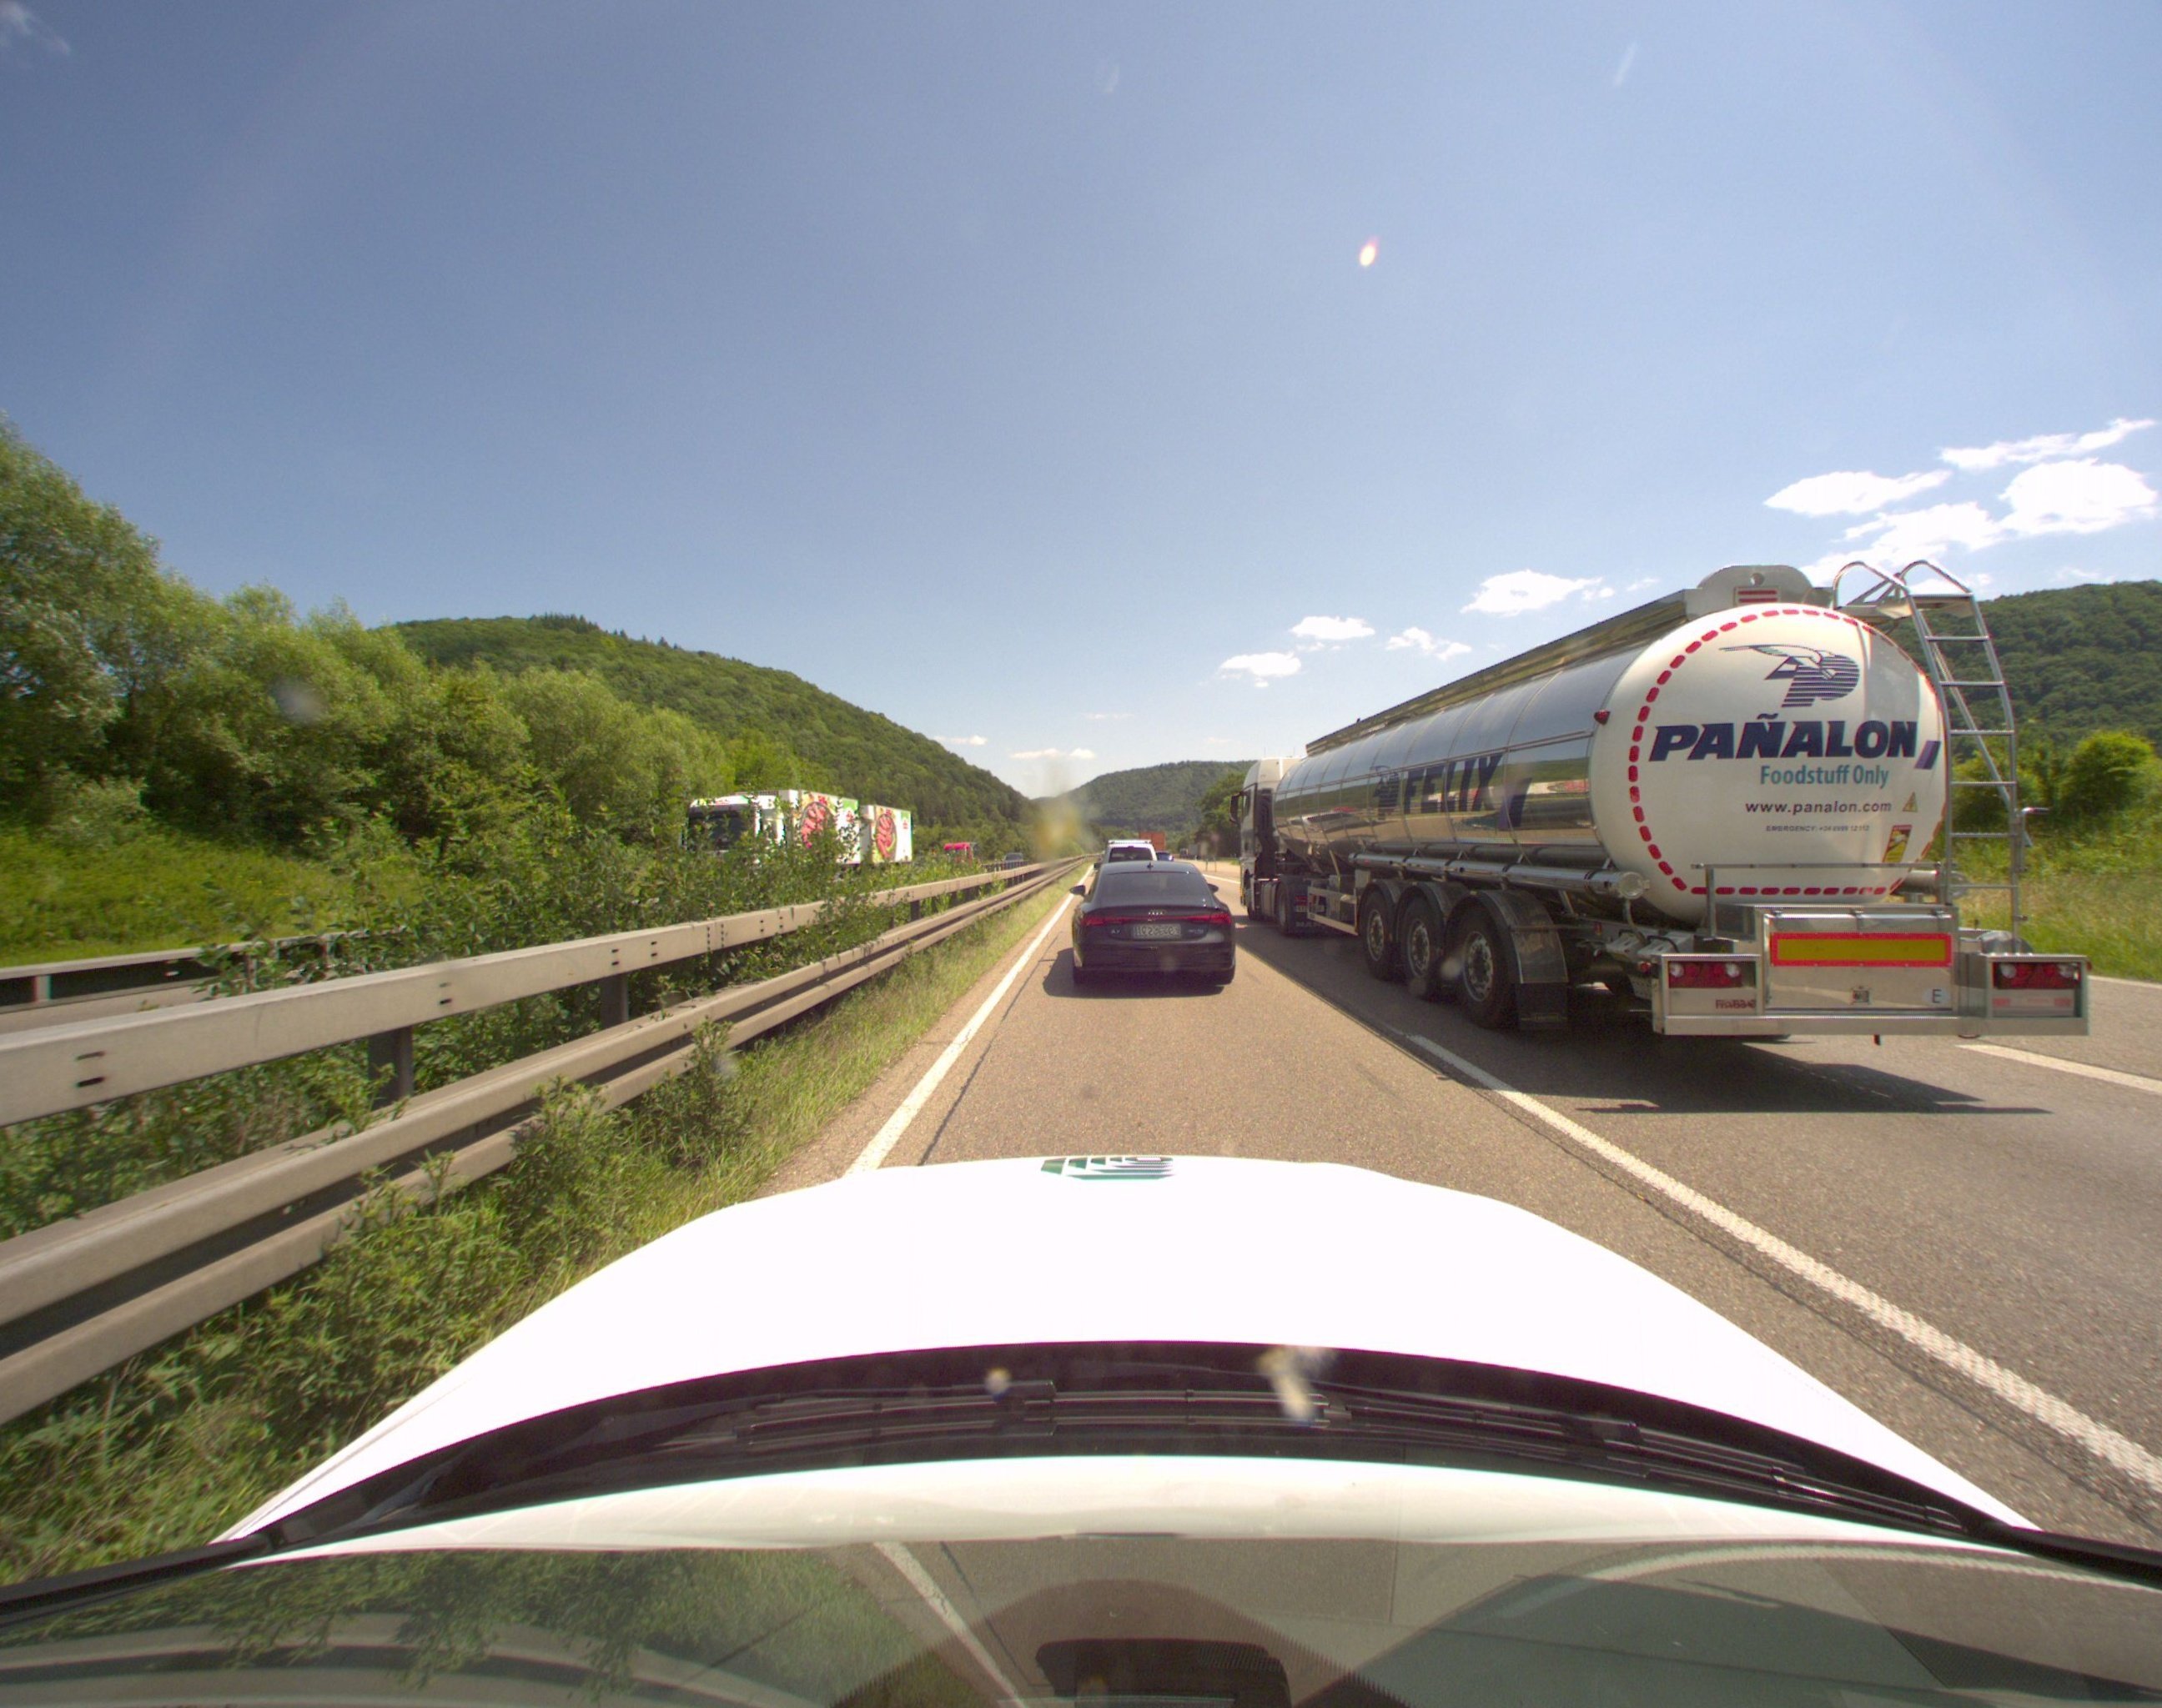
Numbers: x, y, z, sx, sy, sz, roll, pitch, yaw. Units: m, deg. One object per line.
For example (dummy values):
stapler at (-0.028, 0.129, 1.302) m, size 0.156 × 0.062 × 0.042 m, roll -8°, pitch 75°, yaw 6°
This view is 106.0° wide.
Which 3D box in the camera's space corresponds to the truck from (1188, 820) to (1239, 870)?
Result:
truck at (11.641, -0.733, 73.191) m, size 2.806 × 4.003 × 14.965 m, roll -1°, pitch 0°, yaw 3°

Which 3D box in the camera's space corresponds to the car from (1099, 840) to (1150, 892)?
car at (1.769, 0.460, 33.882) m, size 1.986 × 2.013 × 4.002 m, roll -1°, pitch 0°, yaw 2°

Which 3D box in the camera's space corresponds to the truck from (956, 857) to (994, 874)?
truck at (-9.101, 0.939, 70.533) m, size 2.201 × 1.333 × 7.011 m, roll -1°, pitch 0°, yaw 1°

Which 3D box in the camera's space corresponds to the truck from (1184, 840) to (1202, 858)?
truck at (28.602, -1.277, 207.931) m, size 3.769 × 4.414 × 14.999 m, roll -1°, pitch 0°, yaw 11°

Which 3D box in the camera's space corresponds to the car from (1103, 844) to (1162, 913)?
car at (1.451, 0.647, 23.912) m, size 1.570 × 1.833 × 4.002 m, roll -1°, pitch 0°, yaw 2°

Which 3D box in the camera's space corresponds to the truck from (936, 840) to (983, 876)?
truck at (-9.271, 0.313, 63.054) m, size 2.288 × 2.588 × 7.969 m, roll -1°, pitch 0°, yaw 1°

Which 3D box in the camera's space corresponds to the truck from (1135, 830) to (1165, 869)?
truck at (7.698, -0.478, 92.259) m, size 2.806 × 4.003 × 14.965 m, roll -1°, pitch 0°, yaw 3°

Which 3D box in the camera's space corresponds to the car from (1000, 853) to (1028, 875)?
car at (-5.253, 0.765, 64.020) m, size 1.771 × 1.599 × 4.000 m, roll -1°, pitch 0°, yaw 1°

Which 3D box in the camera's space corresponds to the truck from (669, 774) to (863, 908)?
truck at (-10.909, -0.400, 29.735) m, size 2.859 × 4.006 × 10.174 m, roll -1°, pitch 0°, yaw 1°

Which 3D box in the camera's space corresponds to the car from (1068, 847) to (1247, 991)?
car at (0.773, 0.678, 10.588) m, size 1.844 × 1.488 × 4.080 m, roll -1°, pitch 0°, yaw -1°

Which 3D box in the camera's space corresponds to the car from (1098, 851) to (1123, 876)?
car at (2.409, 0.749, 67.790) m, size 1.986 × 2.013 × 4.001 m, roll -2°, pitch 0°, yaw 1°

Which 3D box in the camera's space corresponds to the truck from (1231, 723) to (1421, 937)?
truck at (4.816, -0.435, 17.050) m, size 2.502 × 3.758 × 5.248 m, roll -1°, pitch 0°, yaw 2°

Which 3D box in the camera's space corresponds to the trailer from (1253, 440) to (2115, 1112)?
trailer at (4.626, -0.449, 10.506) m, size 2.529 × 3.735 × 11.894 m, roll -1°, pitch 0°, yaw 1°

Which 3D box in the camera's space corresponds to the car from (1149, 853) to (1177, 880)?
car at (6.394, 0.923, 63.711) m, size 1.985 × 2.002 × 4.003 m, roll -2°, pitch 0°, yaw 3°

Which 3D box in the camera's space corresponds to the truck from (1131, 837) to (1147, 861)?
truck at (8.689, -0.753, 122.886) m, size 1.986 × 3.447 × 11.817 m, roll -1°, pitch 0°, yaw 2°

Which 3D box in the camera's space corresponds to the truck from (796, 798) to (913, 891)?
truck at (-10.619, -0.418, 39.370) m, size 2.859 × 3.980 × 9.034 m, roll -1°, pitch 0°, yaw 1°
